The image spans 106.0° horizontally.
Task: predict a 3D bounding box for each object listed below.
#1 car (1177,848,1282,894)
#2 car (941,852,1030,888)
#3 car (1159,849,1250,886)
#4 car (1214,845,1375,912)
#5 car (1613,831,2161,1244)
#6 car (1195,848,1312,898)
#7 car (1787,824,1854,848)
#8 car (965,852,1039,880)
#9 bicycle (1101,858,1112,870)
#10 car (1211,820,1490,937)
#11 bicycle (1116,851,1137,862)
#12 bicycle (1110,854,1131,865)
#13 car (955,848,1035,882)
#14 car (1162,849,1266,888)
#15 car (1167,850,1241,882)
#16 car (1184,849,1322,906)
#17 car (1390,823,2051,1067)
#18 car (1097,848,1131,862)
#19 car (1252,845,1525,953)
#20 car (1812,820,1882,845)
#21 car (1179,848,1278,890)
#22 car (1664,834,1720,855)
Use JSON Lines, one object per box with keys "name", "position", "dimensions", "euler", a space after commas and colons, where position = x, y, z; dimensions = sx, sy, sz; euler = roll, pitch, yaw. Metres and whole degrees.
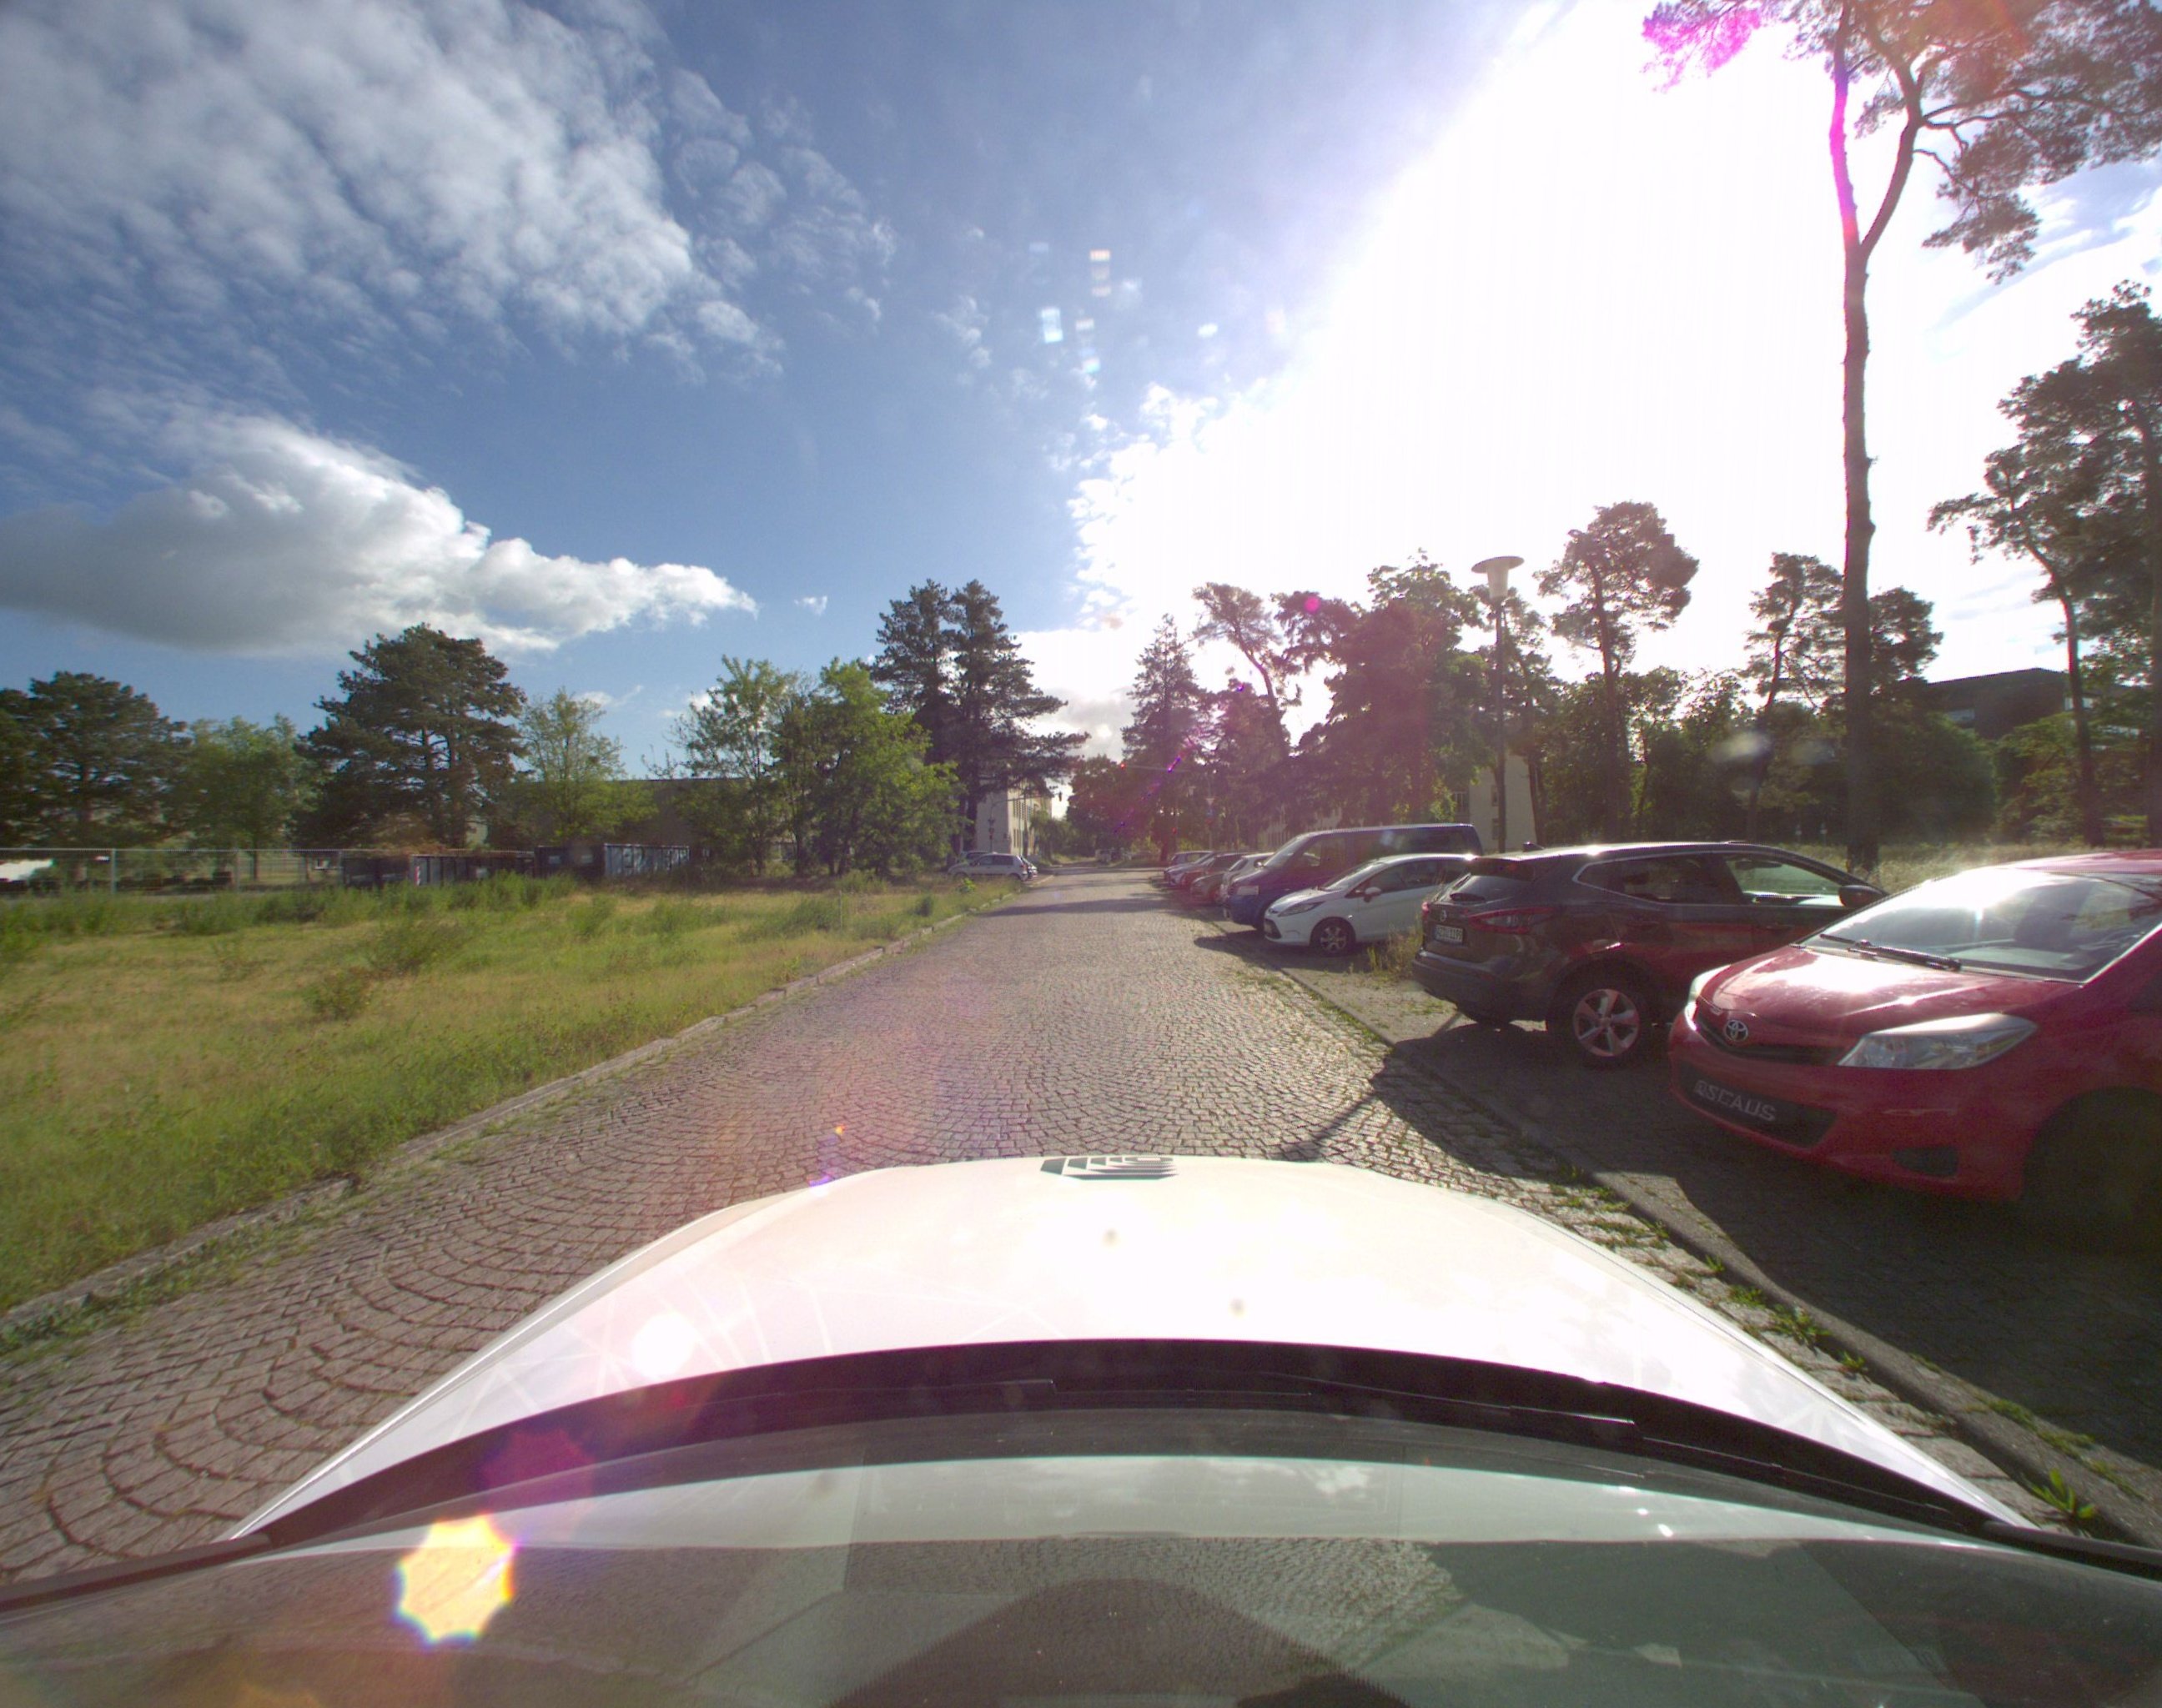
{"name": "car", "position": [5.289, 0.597, 29.314], "dimensions": [3.466, 1.529, 1.645], "euler": [-1, 0, 0]}
{"name": "car", "position": [-4.482, 0.728, 38.688], "dimensions": [3.976, 1.600, 1.999], "euler": [-1, 0, -1]}
{"name": "car", "position": [5.513, 0.595, 36.624], "dimensions": [3.823, 1.529, 1.645], "euler": [-1, 0, 0]}
{"name": "car", "position": [5.363, 0.605, 20.809], "dimensions": [3.680, 1.465, 1.646], "euler": [-3, 0, 2]}
{"name": "car", "position": [4.939, 0.663, 3.866], "dimensions": [3.749, 1.530, 1.646], "euler": [-1, 0, 1]}
{"name": "car", "position": [5.589, 0.602, 26.614], "dimensions": [3.466, 1.529, 1.645], "euler": [-1, 0, 0]}
{"name": "car", "position": [64.315, -1.546, 70.892], "dimensions": [3.972, 2.013, 2.001], "euler": [-1, 0, 1]}
{"name": "car", "position": [-4.459, 0.664, 46.483], "dimensions": [3.973, 1.453, 2.000], "euler": [2, 0, 1]}
{"name": "bicycle", "position": [2.664, 0.997, 84.881], "dimensions": [0.803, 1.169, 2.177], "euler": [-3, 0, -4]}
{"name": "car", "position": [5.008, 0.426, 15.636], "dimensions": [4.664, 2.013, 2.082], "euler": [-1, 0, -2]}
{"name": "bicycle", "position": [4.994, 0.281, 89.511], "dimensions": [2.172, 1.100, 0.805], "euler": [0, 0, -9]}
{"name": "bicycle", "position": [4.259, 0.595, 88.313], "dimensions": [2.172, 1.100, 0.805], "euler": [0, 0, -9]}
{"name": "car", "position": [-4.603, 0.571, 44.084], "dimensions": [3.973, 1.601, 2.000], "euler": [2, 0, 1]}
{"name": "car", "position": [5.481, 0.581, 33.852], "dimensions": [4.024, 1.529, 1.644], "euler": [-1, 0, -2]}
{"name": "car", "position": [5.894, 0.558, 39.259], "dimensions": [3.332, 1.482, 1.645], "euler": [-1, 0, 0]}
{"name": "car", "position": [4.935, 0.652, 23.707], "dimensions": [3.663, 1.467, 1.645], "euler": [-2, 0, 0]}
{"name": "car", "position": [4.777, 0.626, 6.537], "dimensions": [3.923, 1.621, 1.772], "euler": [-1, 0, 0]}
{"name": "car", "position": [4.279, 0.165, 105.795], "dimensions": [4.465, 1.728, 2.000], "euler": [0, 0, 1]}
{"name": "car", "position": [4.765, 0.662, 12.960], "dimensions": [3.708, 1.488, 1.645], "euler": [-2, 0, -1]}
{"name": "car", "position": [64.458, -1.804, 68.577], "dimensions": [3.972, 2.013, 2.001], "euler": [-1, 0, 1]}
{"name": "car", "position": [5.704, 0.583, 31.768], "dimensions": [3.591, 1.529, 1.645], "euler": [-1, 0, 0]}
{"name": "car", "position": [60.379, -0.906, 80.548], "dimensions": [3.972, 2.013, 2.001], "euler": [-1, 0, 1]}
